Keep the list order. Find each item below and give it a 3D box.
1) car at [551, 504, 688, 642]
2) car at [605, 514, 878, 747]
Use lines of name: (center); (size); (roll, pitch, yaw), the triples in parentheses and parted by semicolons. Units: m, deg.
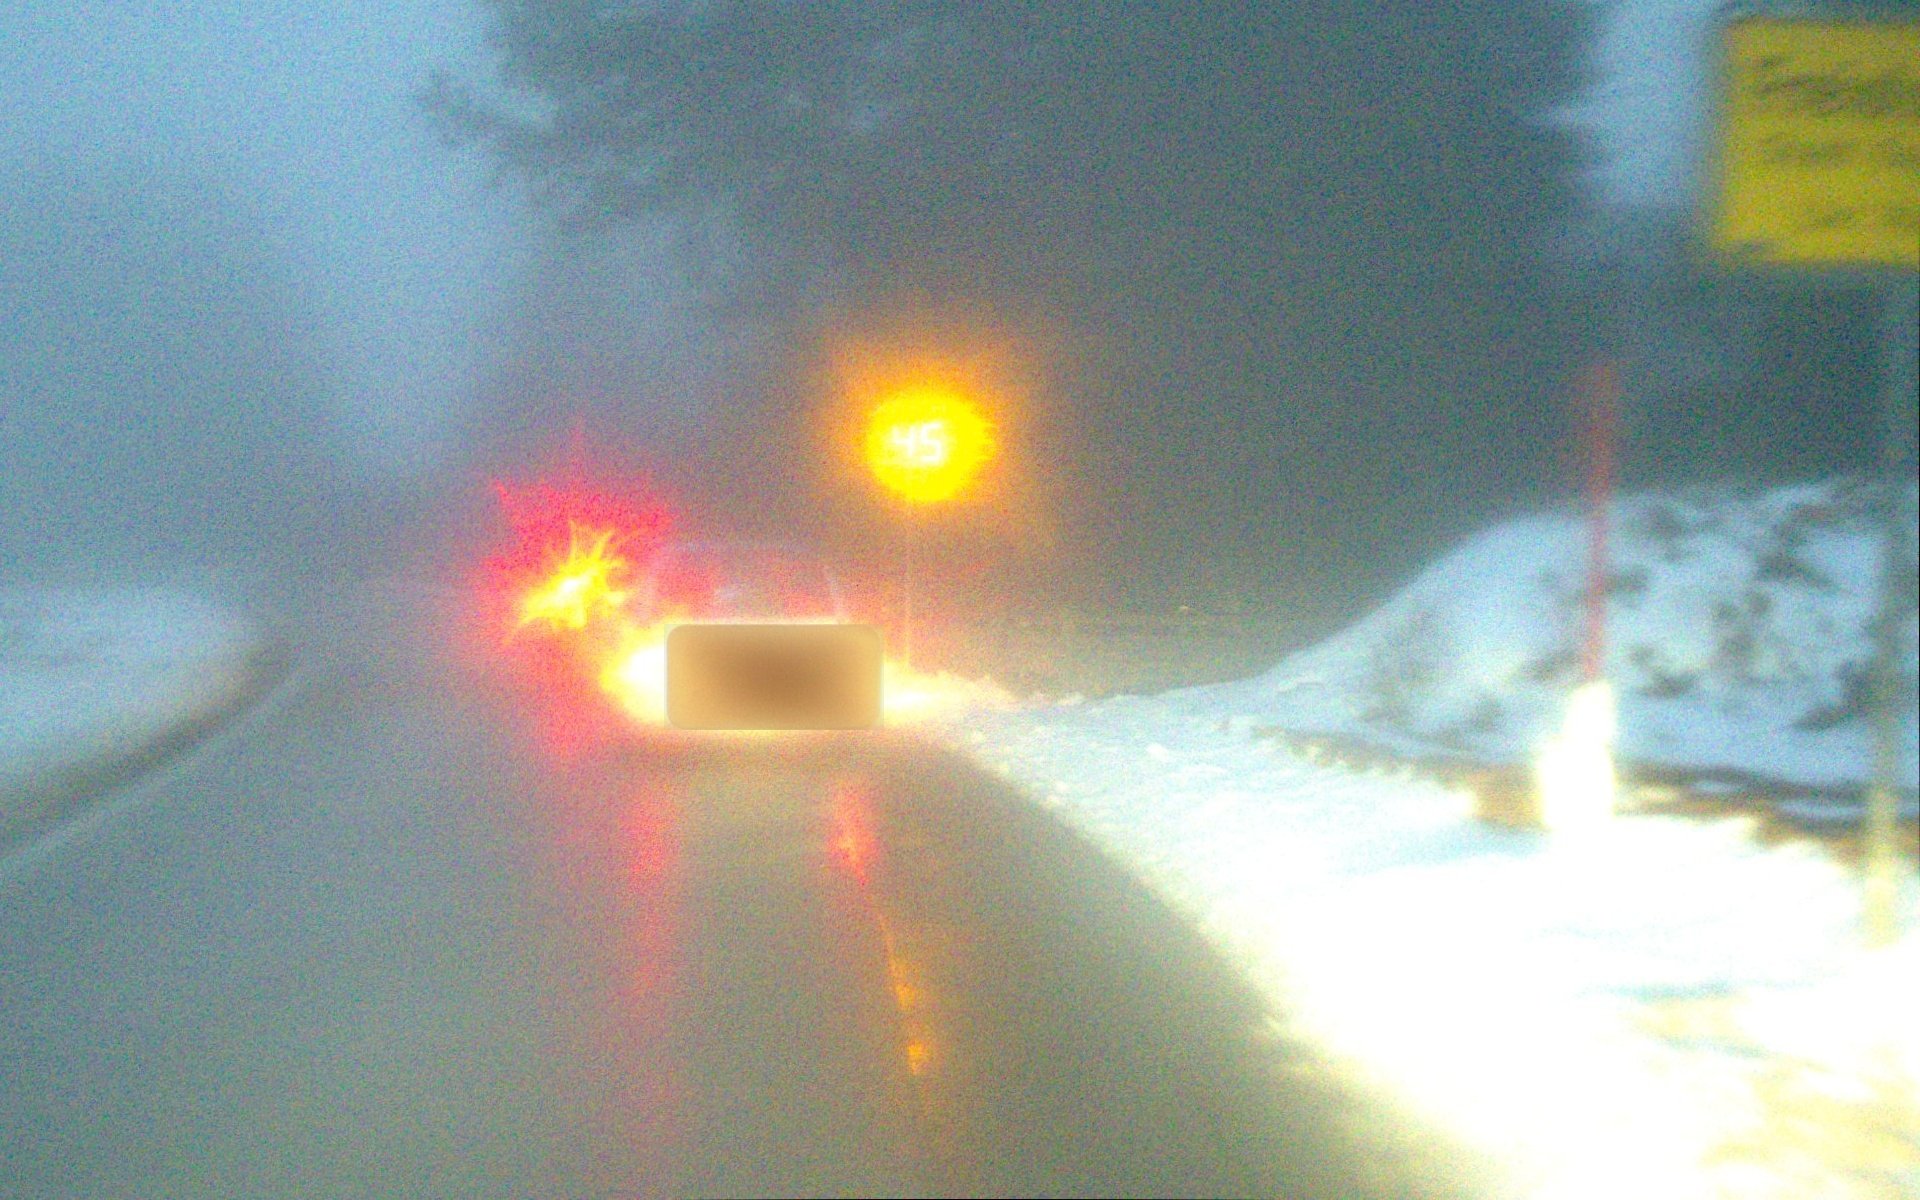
car: (-3.871, -0.317, 39.078); (1.478, 1.503, 3.053); (0, 1, -6)
car: (-1.555, 0.216, 23.667); (1.706, 1.458, 4.000); (0, -1, -5)
